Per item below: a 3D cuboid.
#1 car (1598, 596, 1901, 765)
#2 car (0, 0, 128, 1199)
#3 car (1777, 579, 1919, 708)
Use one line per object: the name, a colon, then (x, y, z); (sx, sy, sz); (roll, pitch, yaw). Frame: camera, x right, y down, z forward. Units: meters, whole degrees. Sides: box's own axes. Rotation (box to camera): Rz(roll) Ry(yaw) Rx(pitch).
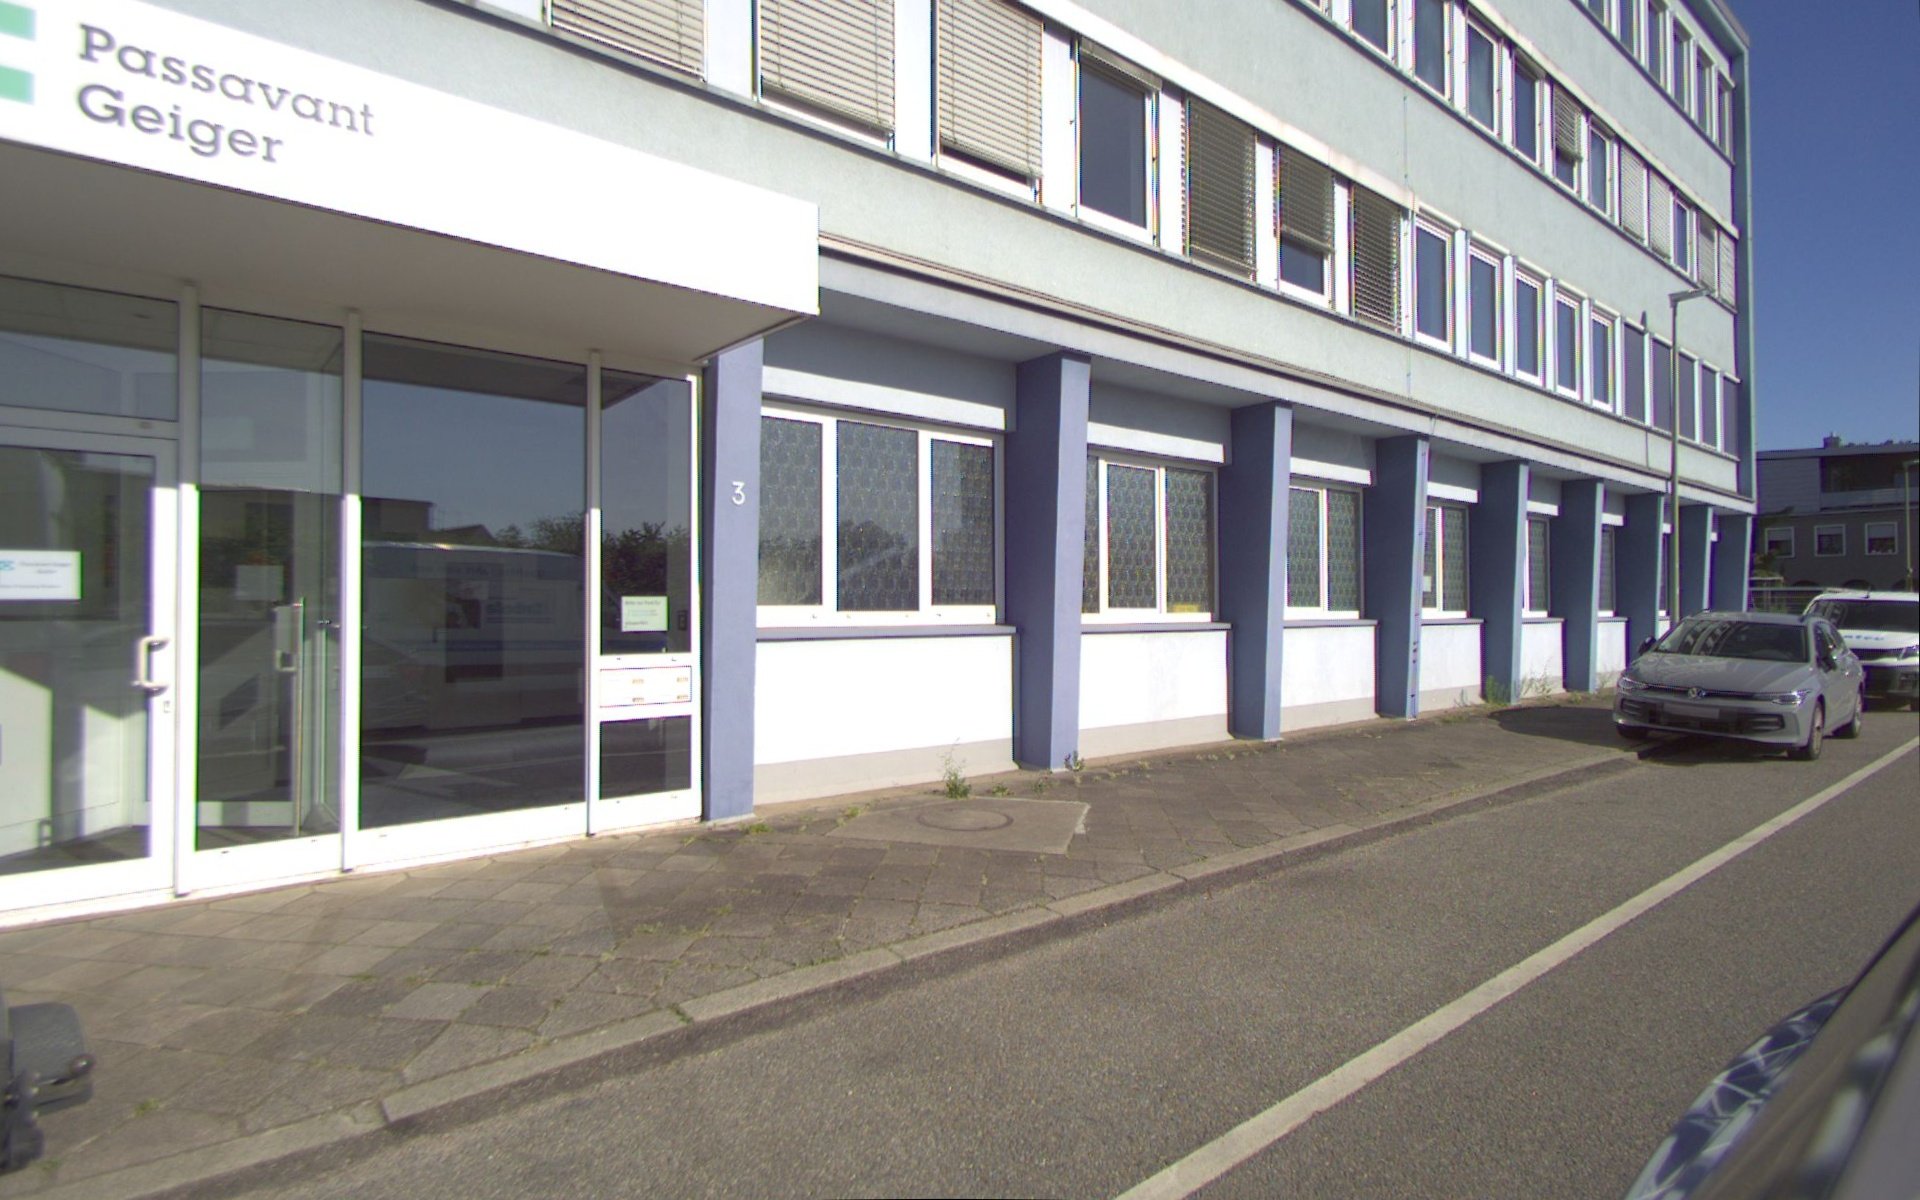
car: (9.404, 0.769, 11.878); (5.002, 1.580, 1.892); (0, -1, -41)
car: (-4.227, 0.150, 0.393); (5.945, 2.630, 1.997); (1, 0, -42)
car: (15.306, 0.619, 16.624); (4.999, 1.855, 1.893); (0, -1, -39)
